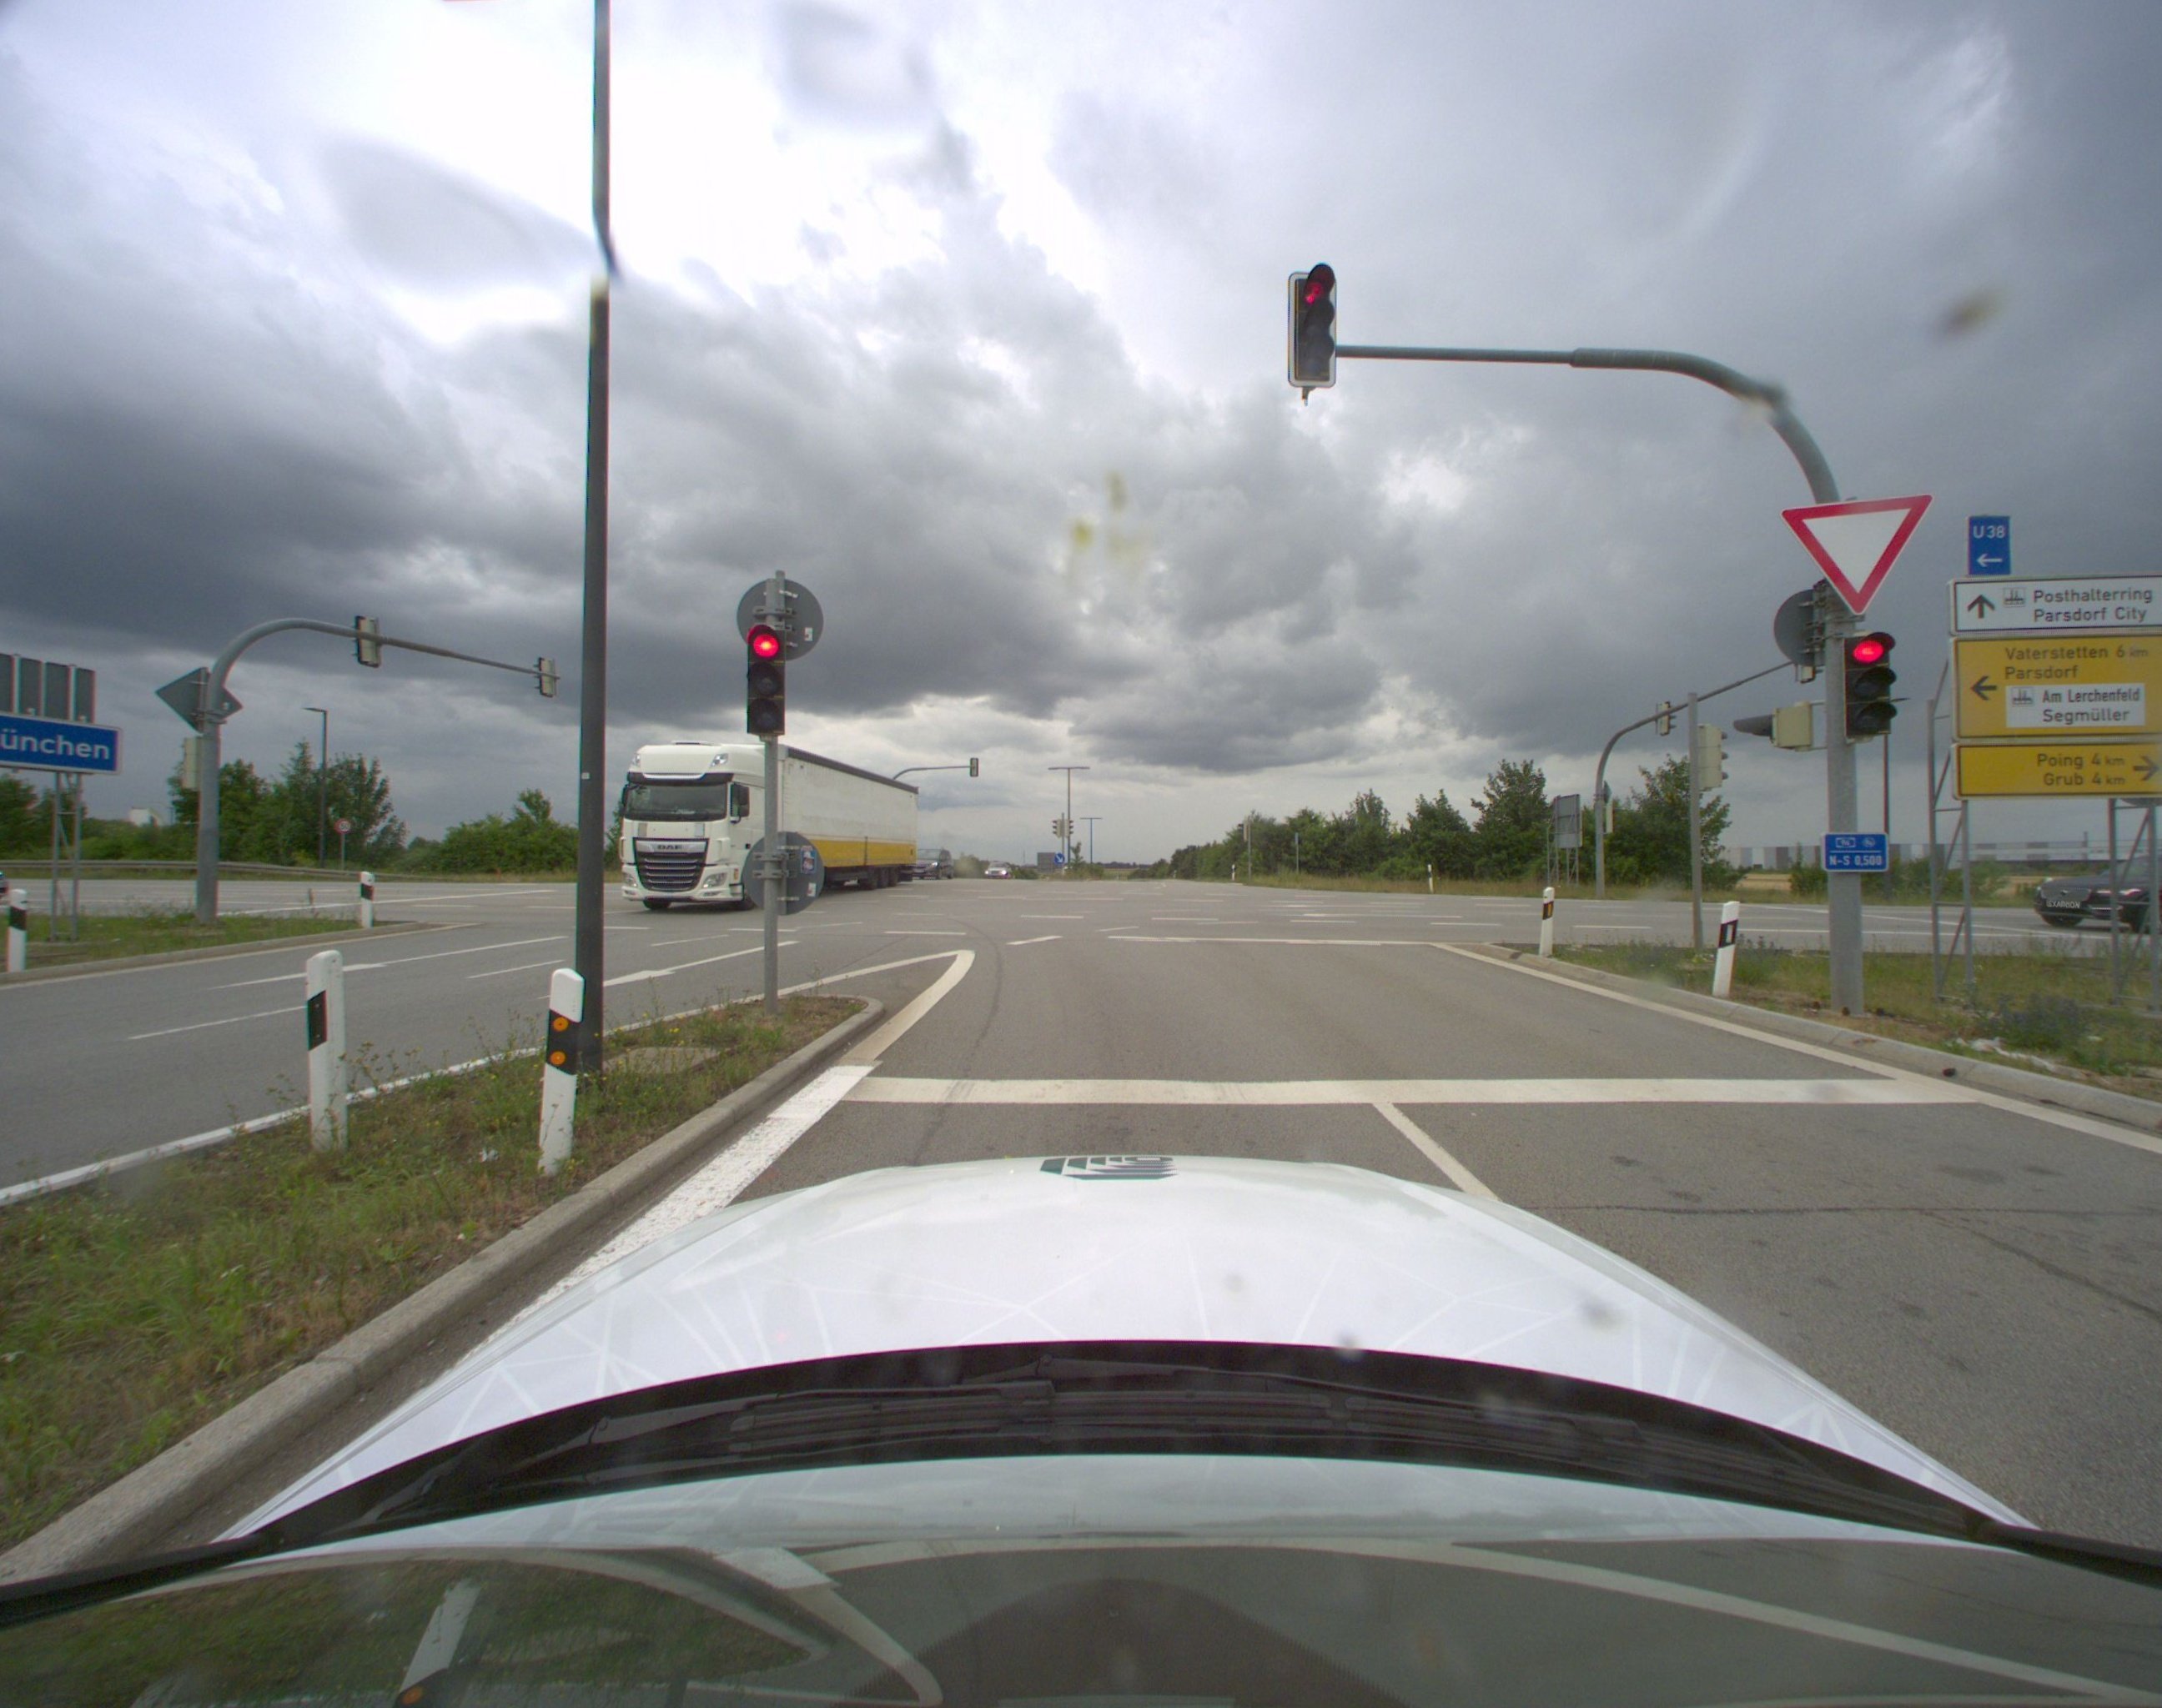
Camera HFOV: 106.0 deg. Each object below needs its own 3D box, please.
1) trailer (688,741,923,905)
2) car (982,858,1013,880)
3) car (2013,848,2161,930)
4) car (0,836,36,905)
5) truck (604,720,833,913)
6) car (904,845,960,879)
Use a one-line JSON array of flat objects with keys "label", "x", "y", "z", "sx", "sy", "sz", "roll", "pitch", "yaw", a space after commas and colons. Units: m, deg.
[{"label": "trailer", "x": -8.443, "y": -0.745, "z": 27.879, "sx": 2.681, "sy": 4.210, "sz": 13.850, "roll": 0, "pitch": -1, "yaw": 3}, {"label": "car", "x": -6.470, "y": 1.136, "z": 63.590, "sx": 1.803, "sy": 1.520, "sz": 4.244, "roll": 0, "pitch": 1, "yaw": 2}, {"label": "car", "x": 24.062, "y": 0.743, "z": 17.634, "sx": 4.951, "sy": 1.684, "sz": 2.006, "roll": 0, "pitch": 0, "yaw": 10}, {"label": "car", "x": -27.681, "y": 0.389, "z": 18.812, "sx": 4.909, "sy": 1.610, "sz": 1.923, "roll": 0, "pitch": -1, "yaw": 5}, {"label": "truck", "x": -8.809, "y": -0.781, "z": 20.784, "sx": 2.638, "sy": 4.141, "sz": 6.409, "roll": 0, "pitch": -1, "yaw": 3}, {"label": "car", "x": -7.787, "y": 0.430, "z": 42.929, "sx": 1.986, "sy": 1.694, "sz": 4.457, "roll": 0, "pitch": -1, "yaw": 2}]
